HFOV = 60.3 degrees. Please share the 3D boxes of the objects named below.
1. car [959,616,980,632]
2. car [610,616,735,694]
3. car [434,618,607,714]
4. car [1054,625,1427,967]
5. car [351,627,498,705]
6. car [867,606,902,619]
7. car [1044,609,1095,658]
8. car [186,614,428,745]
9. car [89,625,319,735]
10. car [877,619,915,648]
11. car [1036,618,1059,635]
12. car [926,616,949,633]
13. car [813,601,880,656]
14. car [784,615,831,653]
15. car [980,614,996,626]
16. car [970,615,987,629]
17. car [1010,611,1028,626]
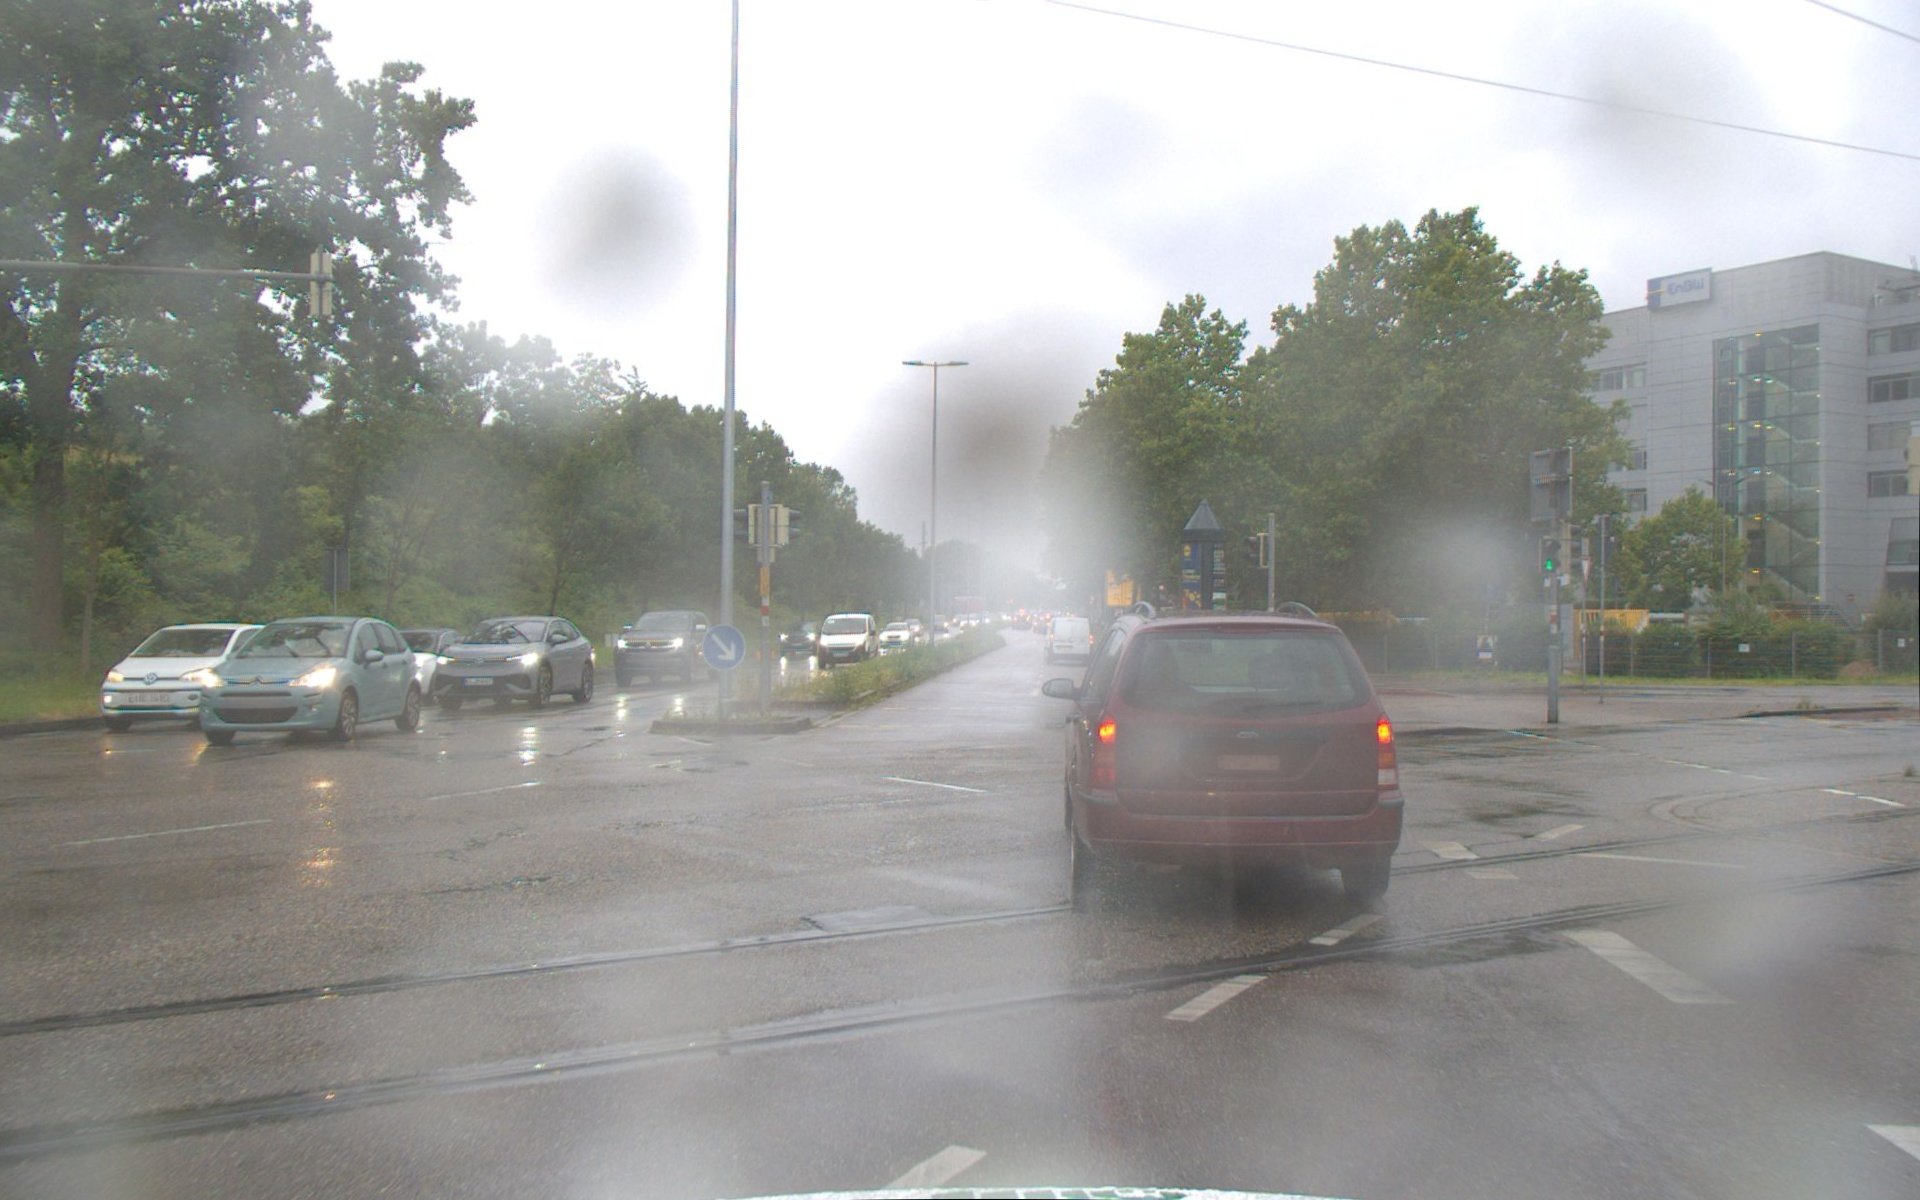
[{"bbox_3d":[1.020,2.468,172.775,1.922,1.625,4.285,0,-1,3],"label":"car"},{"bbox_3d":[-7.272,1.351,42.440,2.022,1.851,5.543,0,-1,2],"label":"car"},{"bbox_3d":[-7.918,1.166,30.265,1.725,1.614,4.814,0,-1,2],"label":"car"},{"bbox_3d":[1.406,0.935,9.538,1.608,1.490,3.733,2,-1,2],"label":"car"},{"bbox_3d":[-10.560,1.266,32.889,1.557,1.428,3.824,0,-1,2],"label":"car"},{"bbox_3d":[-9.822,1.650,215.059,4.229,1.625,1.947,0,-1,-32],"label":"car"},{"bbox_3d":[4.176,1.249,63.494,1.700,1.756,4.244,2,-1,1],"label":"car"},{"bbox_3d":[-8.130,0.934,20.977,1.605,1.499,3.963,0,-1,-2],"label":"car"},{"bbox_3d":[-11.069,1.123,24.499,1.604,1.478,3.788,0,-1,1],"label":"car"},{"bbox_3d":[-3.869,2.022,100.631,1.922,1.732,4.285,0,-1,2],"label":"car"},{"bbox_3d":[8.389,2.527,158.327,2.102,1.555,4.195,0,-1,5],"label":"car"},{"bbox_3d":[-2.103,2.315,155.929,1.922,1.625,4.285,0,-1,2],"label":"car"},{"bbox_3d":[-3.719,0.928,54.770,1.707,1.732,4.285,-1,-1,2],"label":"car"},{"bbox_3d":[-7.487,1.648,81.536,1.707,1.732,4.285,3,-1,2],"label":"car"},{"bbox_3d":[3.652,2.612,217.627,1.922,1.625,4.285,0,-1,3],"label":"car"},{"bbox_3d":[2.222,2.608,197.796,1.922,1.625,4.285,0,-1,3],"label":"car"},{"bbox_3d":[6.202,1.919,173.272,1.662,1.555,3.847,0,-1,5],"label":"car"}]
